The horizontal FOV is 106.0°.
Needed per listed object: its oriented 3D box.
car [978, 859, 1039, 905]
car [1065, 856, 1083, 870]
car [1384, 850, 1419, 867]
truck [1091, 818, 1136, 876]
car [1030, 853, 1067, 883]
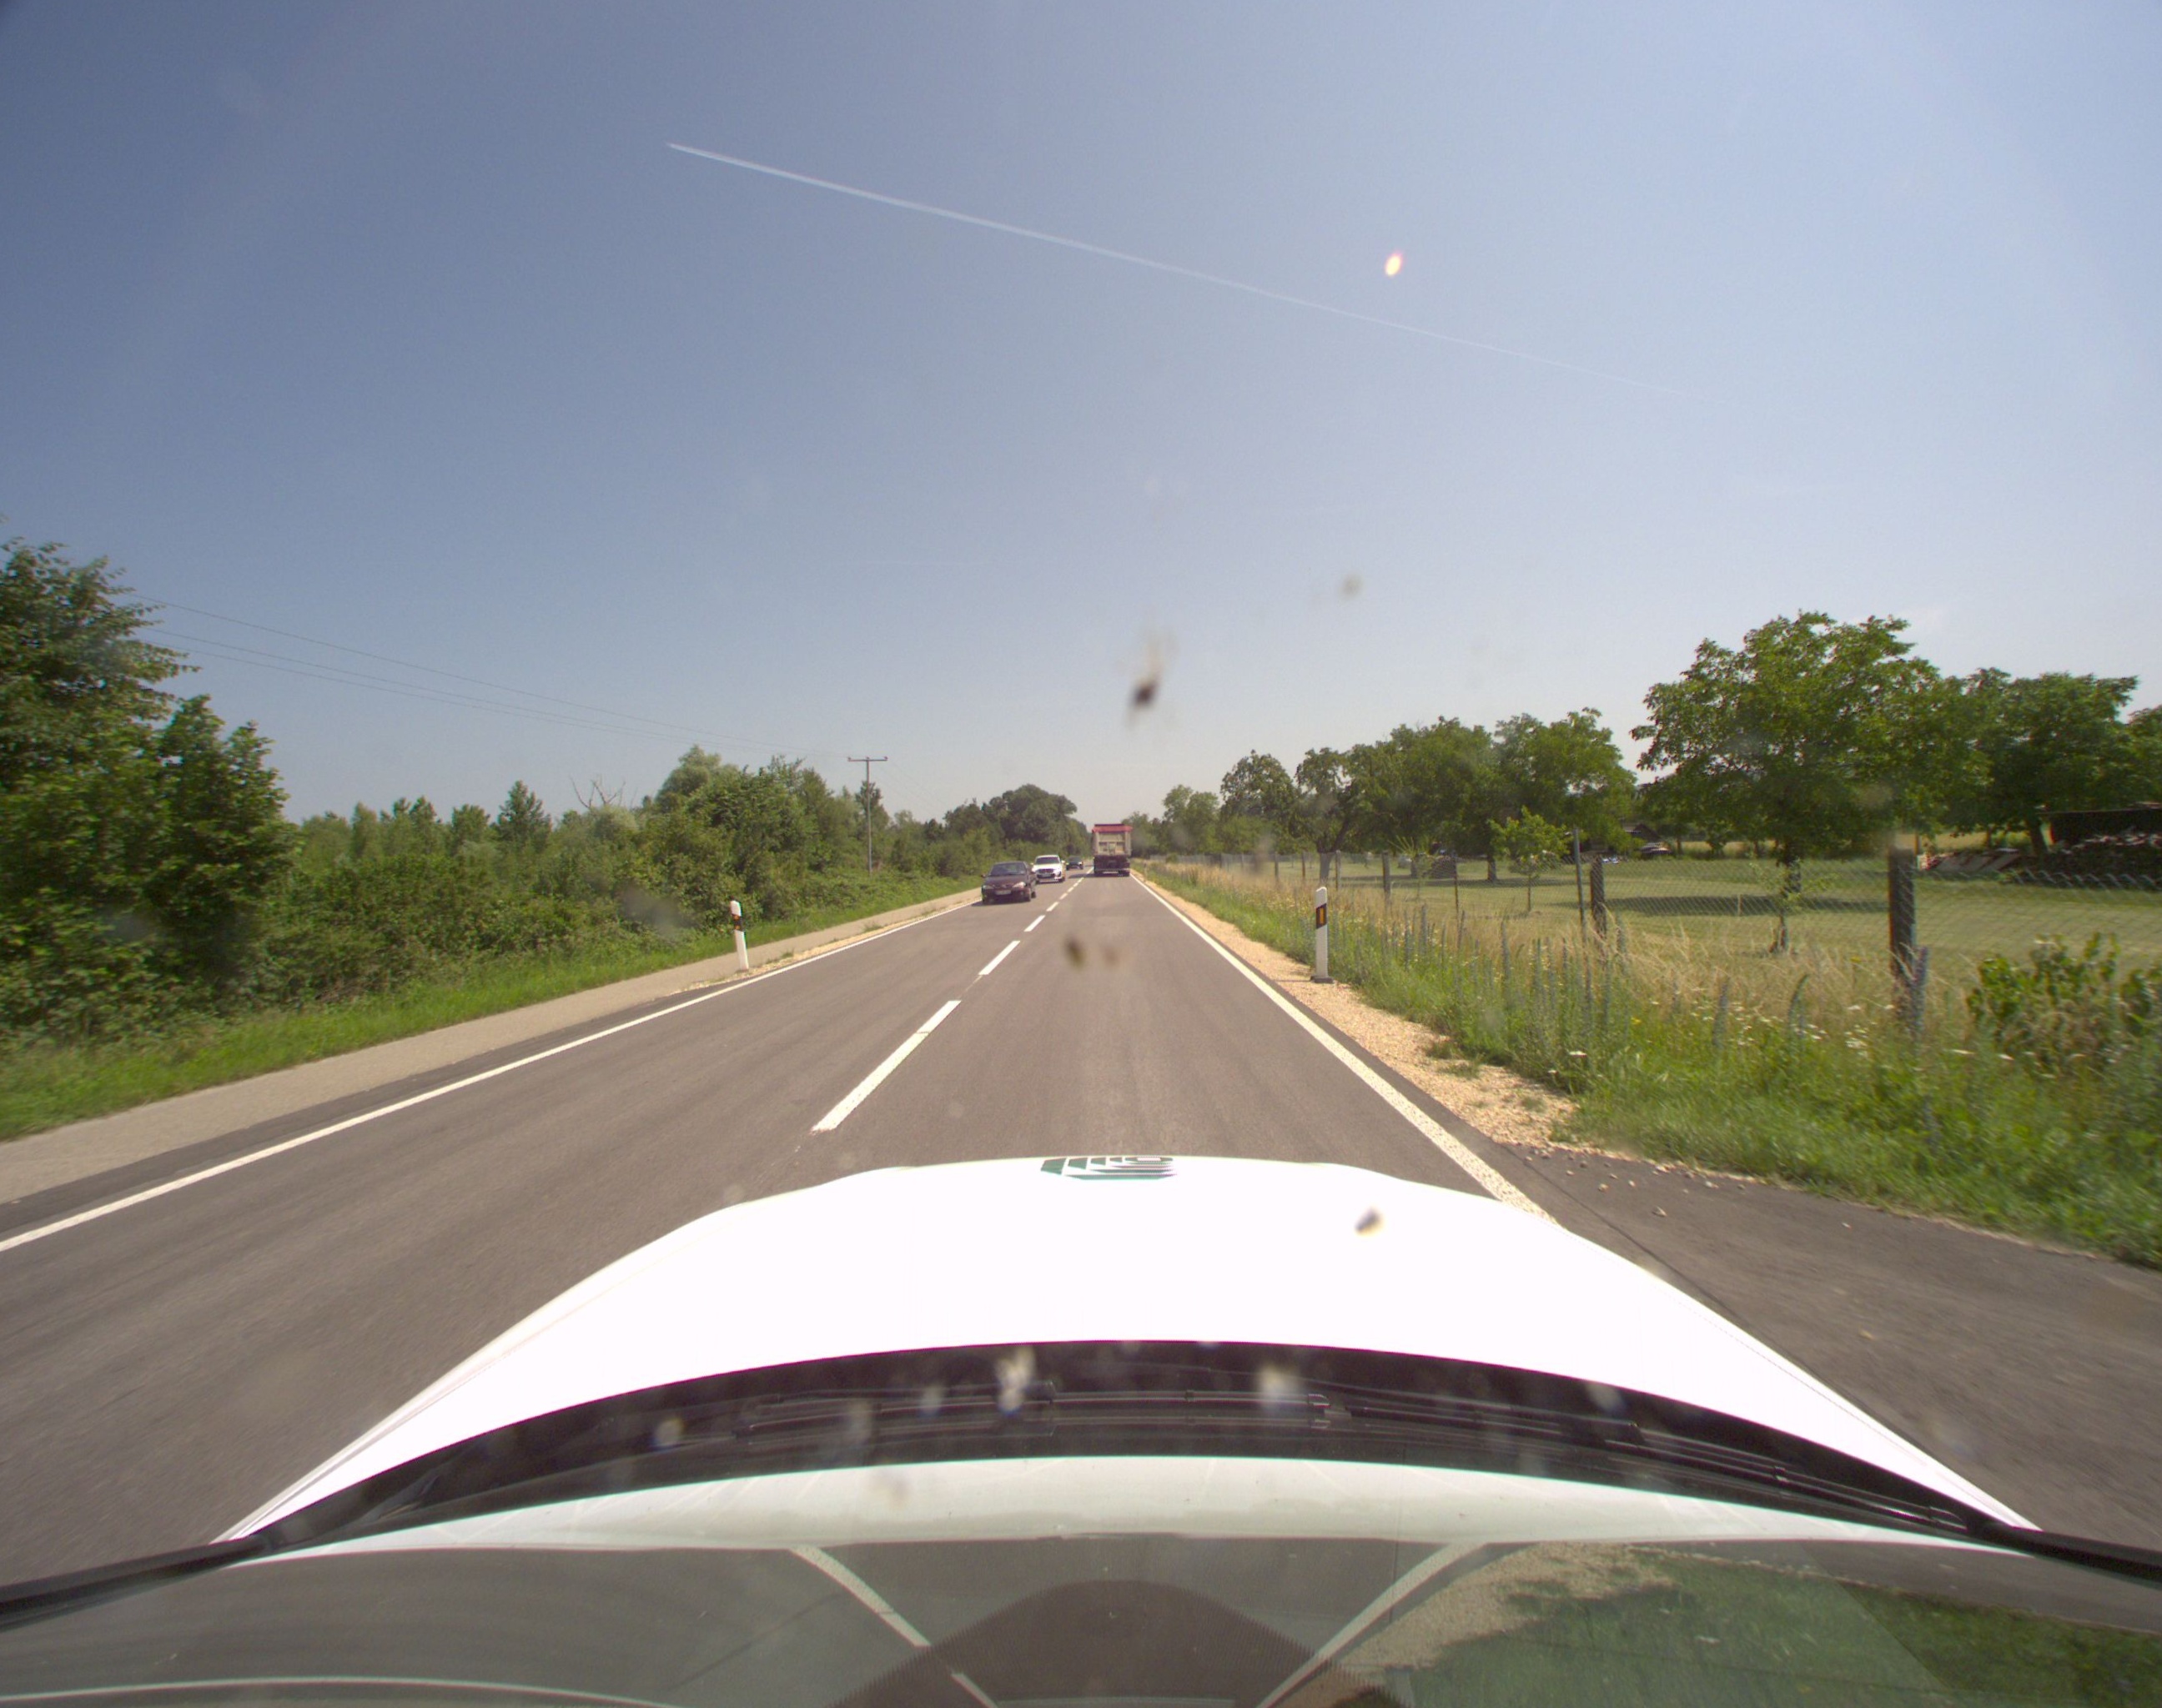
[{"bbox_3d":[-2.540,0.938,29.224,1.689,1.406,4.046,-4,0,0],"label":"car"},{"bbox_3d":[-0.706,0.916,87.693,1.752,1.357,4.047,-4,0,1],"label":"car"},{"bbox_3d":[29.910,0.368,76.111,1.591,1.486,3.420,-2,1,-6],"label":"car"},{"bbox_3d":[2.377,-0.443,60.339,2.998,3.874,12.213,0,0,2],"label":"truck"},{"bbox_3d":[-1.880,0.811,48.530,1.752,1.606,4.483,-4,0,1],"label":"car"}]
